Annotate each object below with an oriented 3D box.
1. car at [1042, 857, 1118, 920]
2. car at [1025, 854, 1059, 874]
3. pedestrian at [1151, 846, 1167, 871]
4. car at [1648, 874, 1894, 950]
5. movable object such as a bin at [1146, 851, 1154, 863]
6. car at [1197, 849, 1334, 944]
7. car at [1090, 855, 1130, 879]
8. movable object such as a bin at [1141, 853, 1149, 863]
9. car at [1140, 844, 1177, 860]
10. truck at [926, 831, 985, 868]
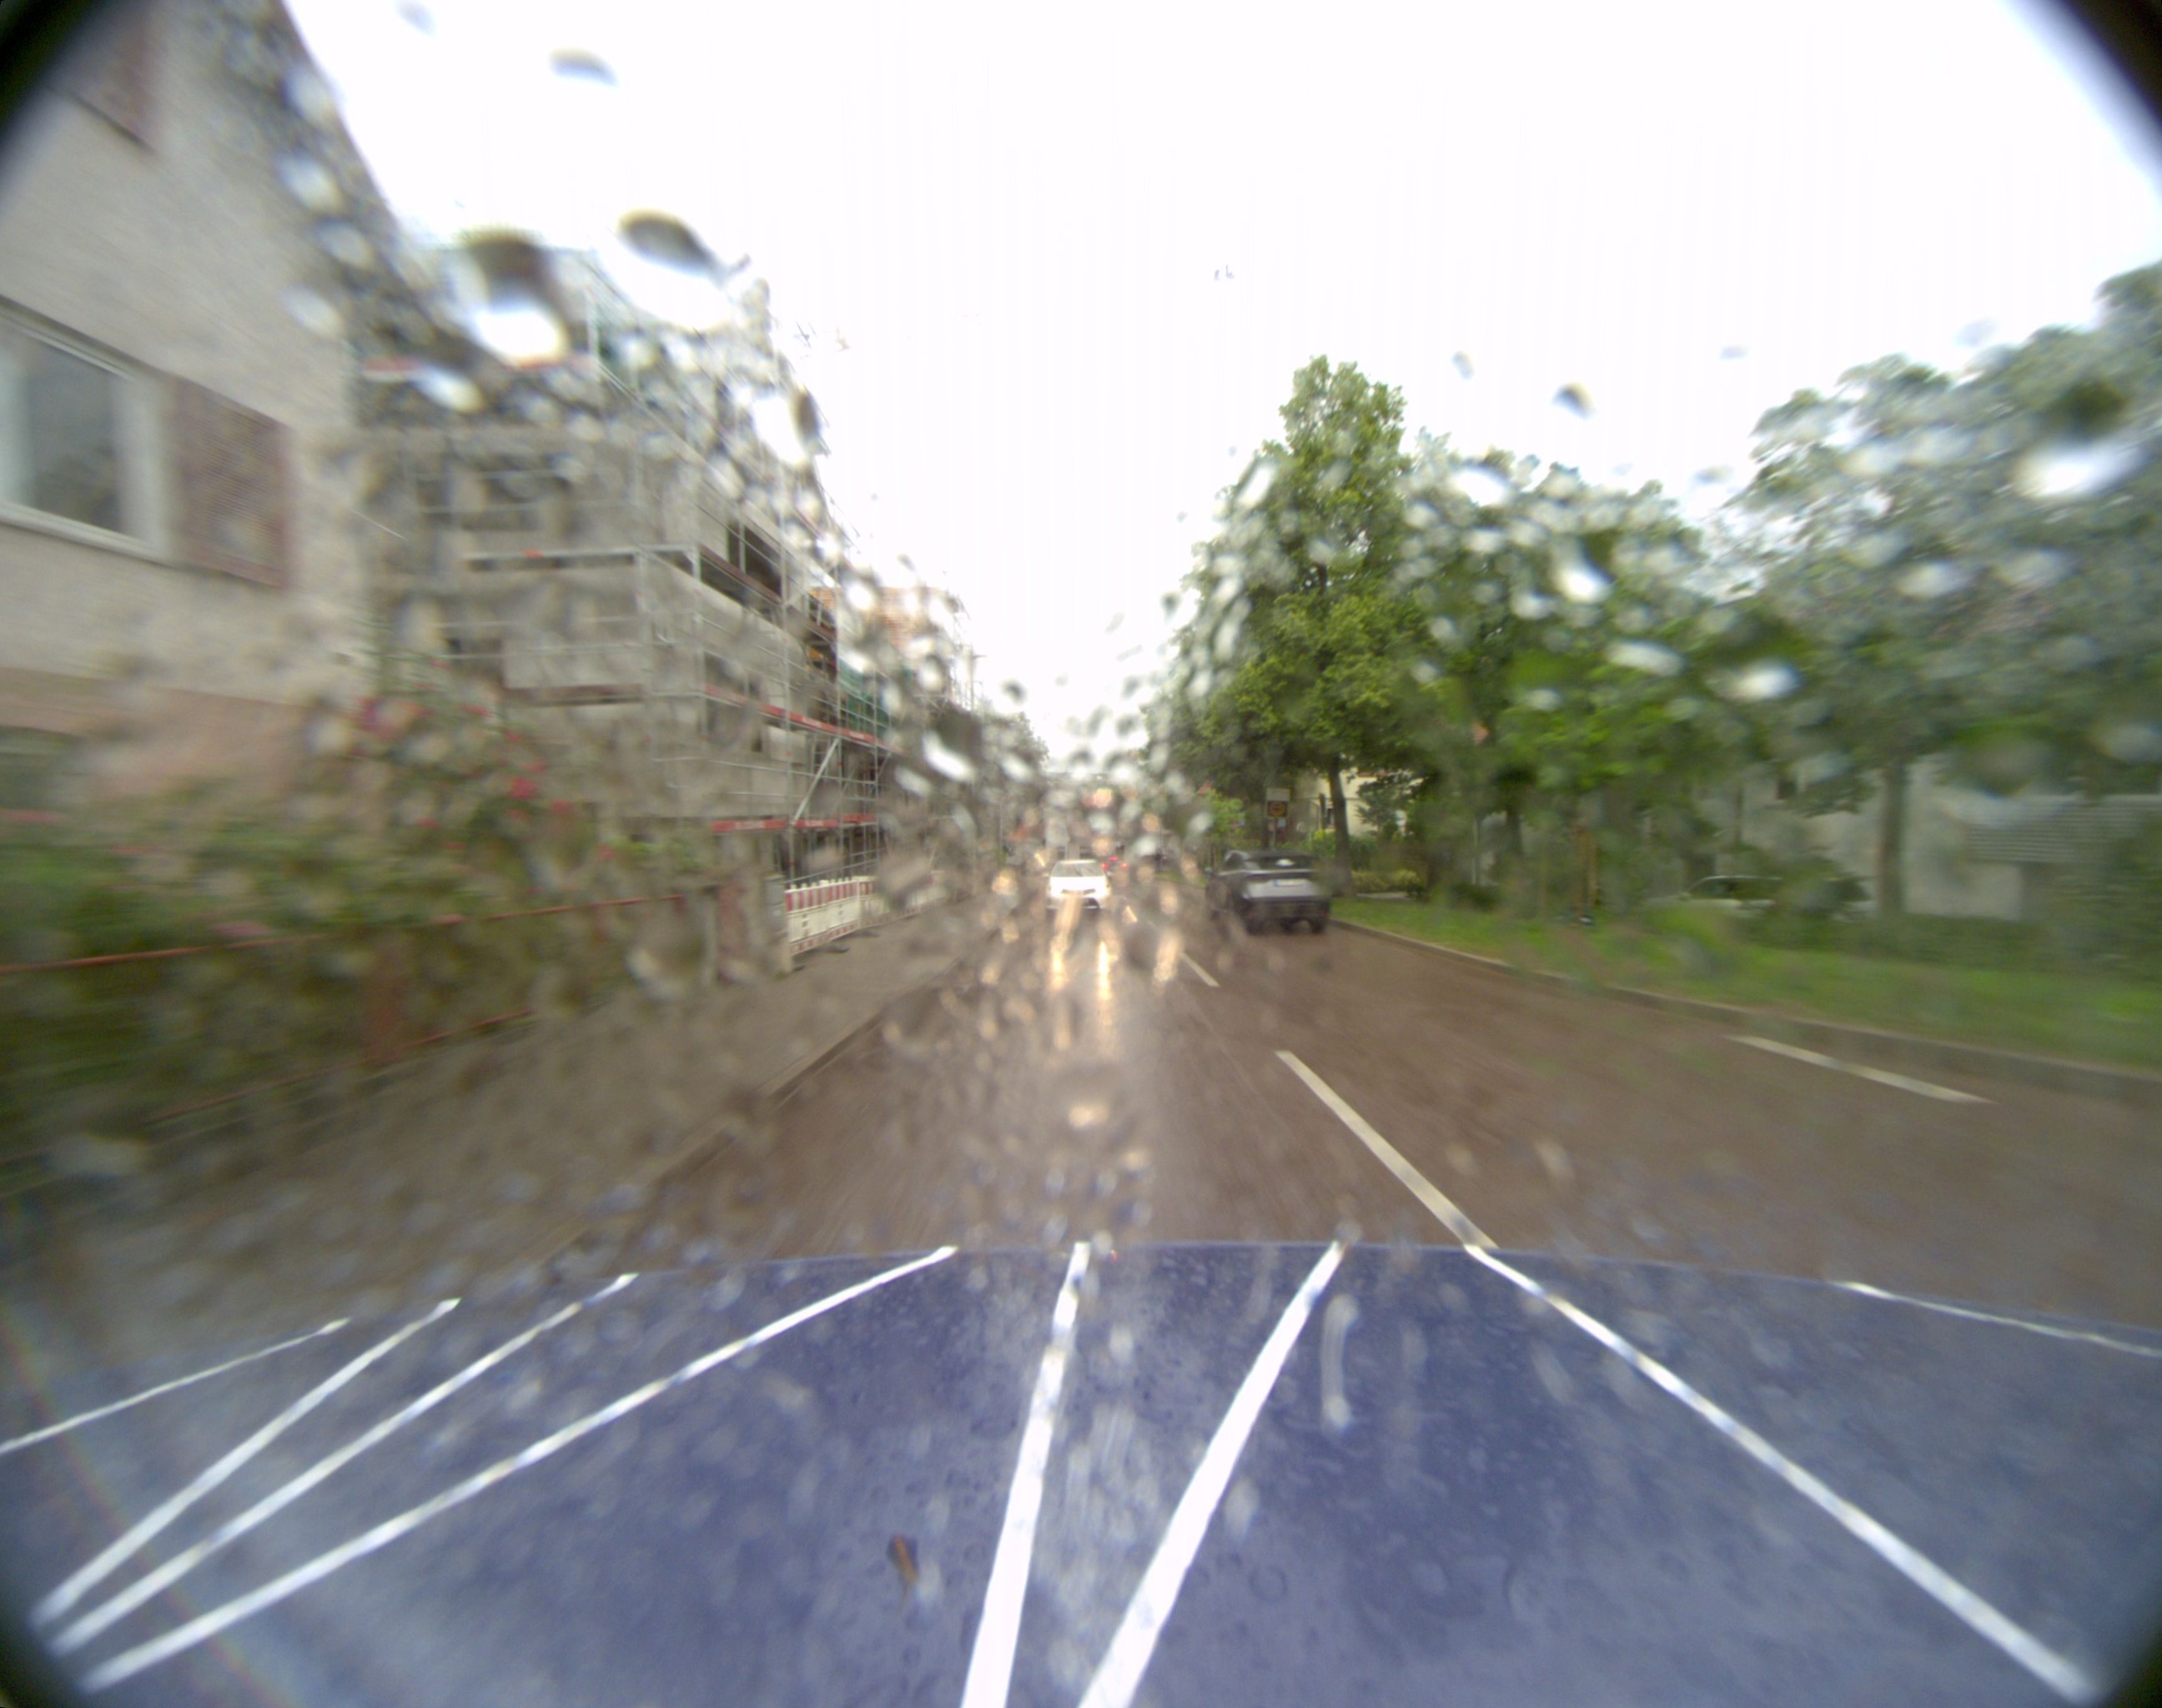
[{"bbox_3d":[-0.018,0.887,21.236,1.859,1.427,4.016,-2,1,0],"label":"car"},{"bbox_3d":[-3.429,0.864,65.574,1.895,1.606,4.133,-1,0,-18],"label":"car"},{"bbox_3d":[5.744,0.343,55.840,0.971,1.820,0.894,-1,1,-8],"label":"pedestrian"},{"bbox_3d":[14.836,1.161,16.578,2.001,1.321,3.442,-1,0,-15],"label":"car"},{"bbox_3d":[6.629,0.253,72.524,0.546,1.117,0.516,-2,1,-26],"label":"movable object such as a bin"},{"bbox_3d":[3.658,0.750,15.901,1.755,1.679,4.375,-1,0,0],"label":"car"},{"bbox_3d":[1.872,0.822,49.530,1.771,1.432,4.060,-1,0,-10],"label":"car"},{"bbox_3d":[6.089,0.358,72.335,0.518,0.935,0.500,-2,1,-26],"label":"movable object such as a bin"},{"bbox_3d":[7.686,-0.179,75.432,1.729,1.524,3.991,-2,0,-27],"label":"car"},{"bbox_3d":[-14.463,-0.448,86.676,2.862,3.945,10.405,-2,1,-32],"label":"truck"}]
